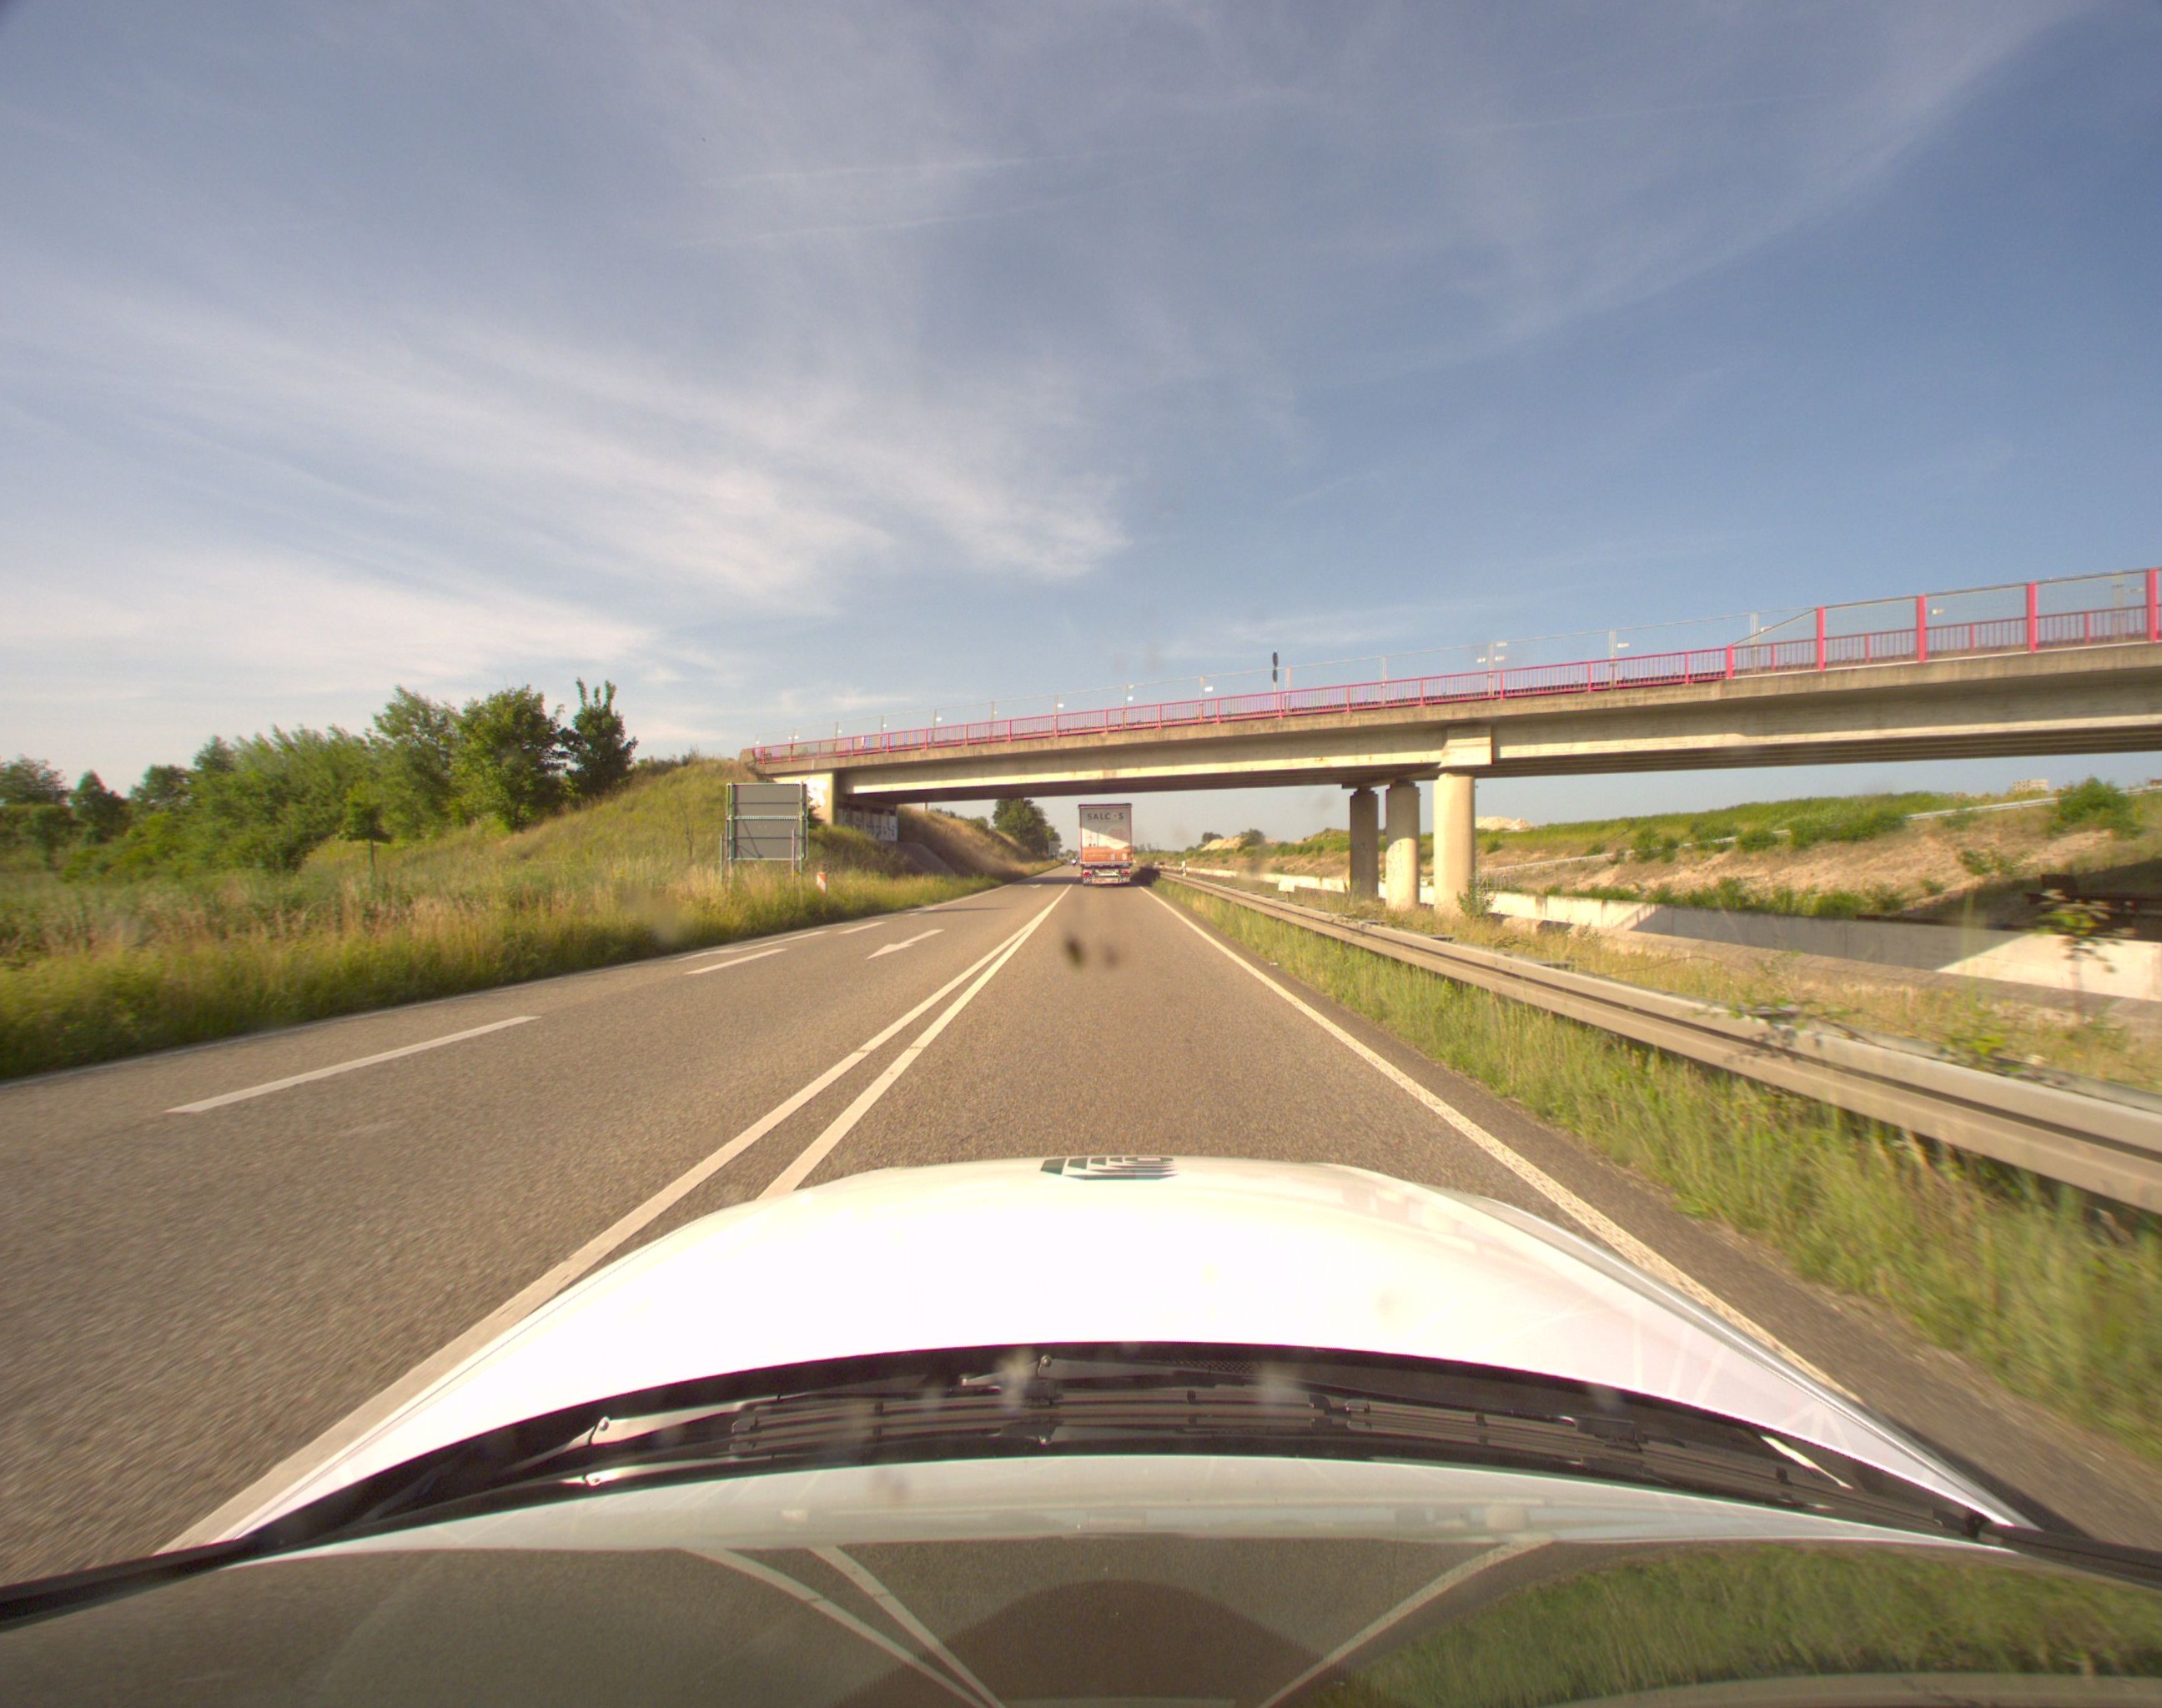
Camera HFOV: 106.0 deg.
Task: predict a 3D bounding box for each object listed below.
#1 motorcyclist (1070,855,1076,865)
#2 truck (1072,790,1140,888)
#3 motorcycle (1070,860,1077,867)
[{"bbox_3d":[-1.183,0.945,122.459,0.877,1.451,1.283,-1,-1,-1],"label":"motorcyclist"},{"bbox_3d":[1.170,-0.680,43.683,3.144,4.688,8.437,-1,-1,-1],"label":"truck"},{"bbox_3d":[-1.167,1.441,122.498,1.038,1.117,2.131,-1,-1,-1],"label":"motorcycle"}]
